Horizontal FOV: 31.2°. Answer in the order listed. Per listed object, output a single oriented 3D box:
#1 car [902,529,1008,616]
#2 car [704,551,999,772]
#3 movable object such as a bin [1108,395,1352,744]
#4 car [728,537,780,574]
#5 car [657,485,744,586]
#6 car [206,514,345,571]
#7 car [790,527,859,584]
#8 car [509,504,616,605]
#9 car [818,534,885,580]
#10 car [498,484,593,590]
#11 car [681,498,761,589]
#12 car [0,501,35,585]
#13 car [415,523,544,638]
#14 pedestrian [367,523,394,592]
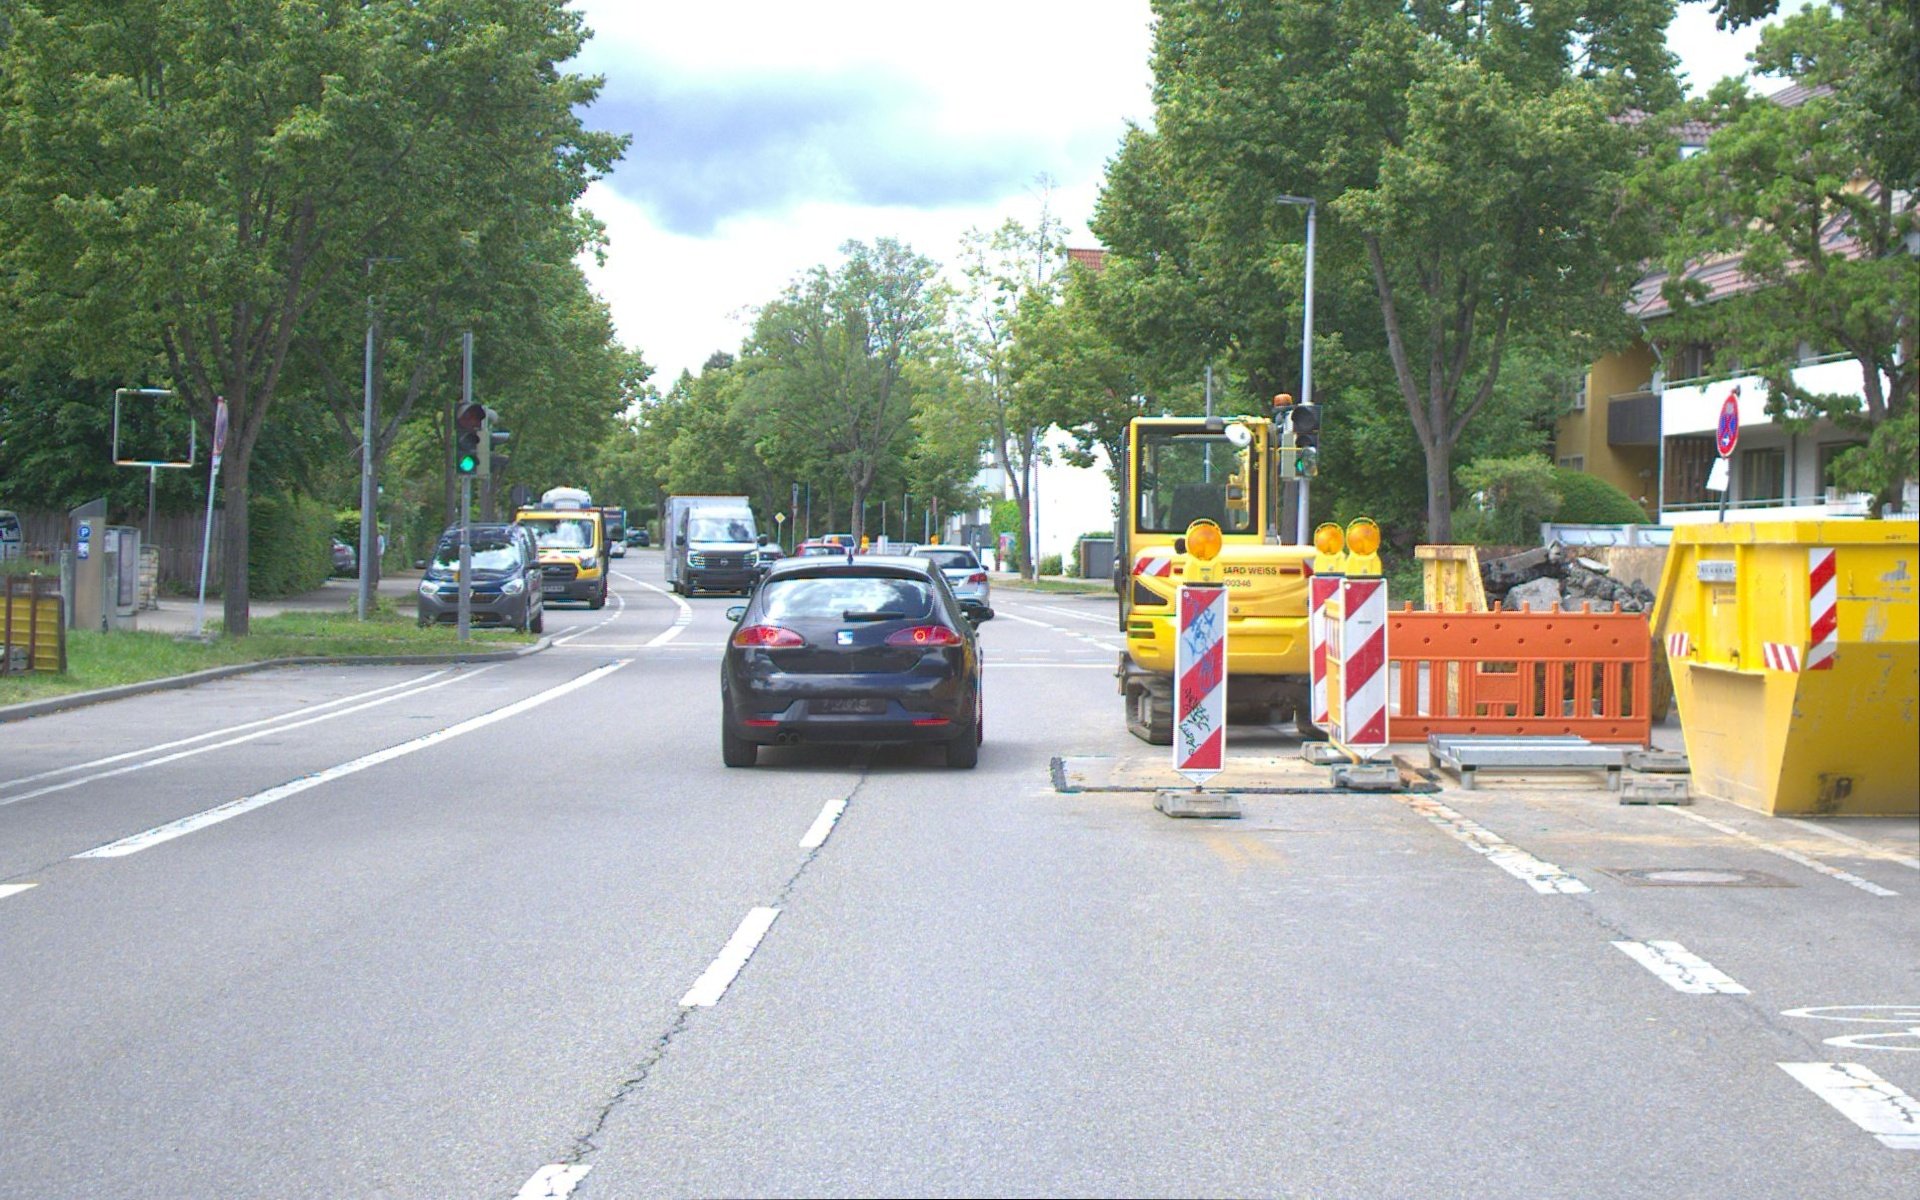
[{"bbox_3d":[-0.129,-0.576,68.469,1.905,1.680,3.740,0,1,-3],"label":"car"},{"bbox_3d":[-0.688,0.375,24.377,1.819,1.433,3.740,0,1,2],"label":"car"},{"bbox_3d":[2.084,-0.261,27.382,1.768,2.565,3.740,1,1,2],"label":"movable object such as a bin"},{"bbox_3d":[-7.841,-1.692,130.570,1.809,1.370,3.694,0,1,-5],"label":"car"},{"bbox_3d":[-7.416,-1.859,98.900,2.287,2.782,7.144,0,1,-3],"label":"car"},{"bbox_3d":[-19.432,-1.642,97.728,3.682,1.588,1.679,0,1,-3],"label":"car"},{"bbox_3d":[-3.908,-1.286,98.646,1.790,1.617,3.740,0,1,-5],"label":"car"},{"bbox_3d":[-8.840,-1.044,76.849,2.092,2.167,5.045,0,1,-4],"label":"car"},{"bbox_3d":[-3.464,-1.383,109.394,1.809,1.410,3.694,0,1,-7],"label":"car"},{"bbox_3d":[-10.542,-1.605,87.722,2.092,2.617,5.045,0,1,-4],"label":"car"},{"bbox_3d":[-6.419,-1.535,92.730,2.028,2.376,5.262,0,1,-3],"label":"car"},{"bbox_3d":[-21.838,-1.216,72.800,3.987,1.763,1.745,1,1,4],"label":"car"},{"bbox_3d":[-7.672,-0.344,55.196,1.667,1.766,4.468,0,1,-3],"label":"car"},{"bbox_3d":[-14.831,-1.087,87.991,0.595,1.735,0.574,0,1,-4],"label":"pedestrian"}]
